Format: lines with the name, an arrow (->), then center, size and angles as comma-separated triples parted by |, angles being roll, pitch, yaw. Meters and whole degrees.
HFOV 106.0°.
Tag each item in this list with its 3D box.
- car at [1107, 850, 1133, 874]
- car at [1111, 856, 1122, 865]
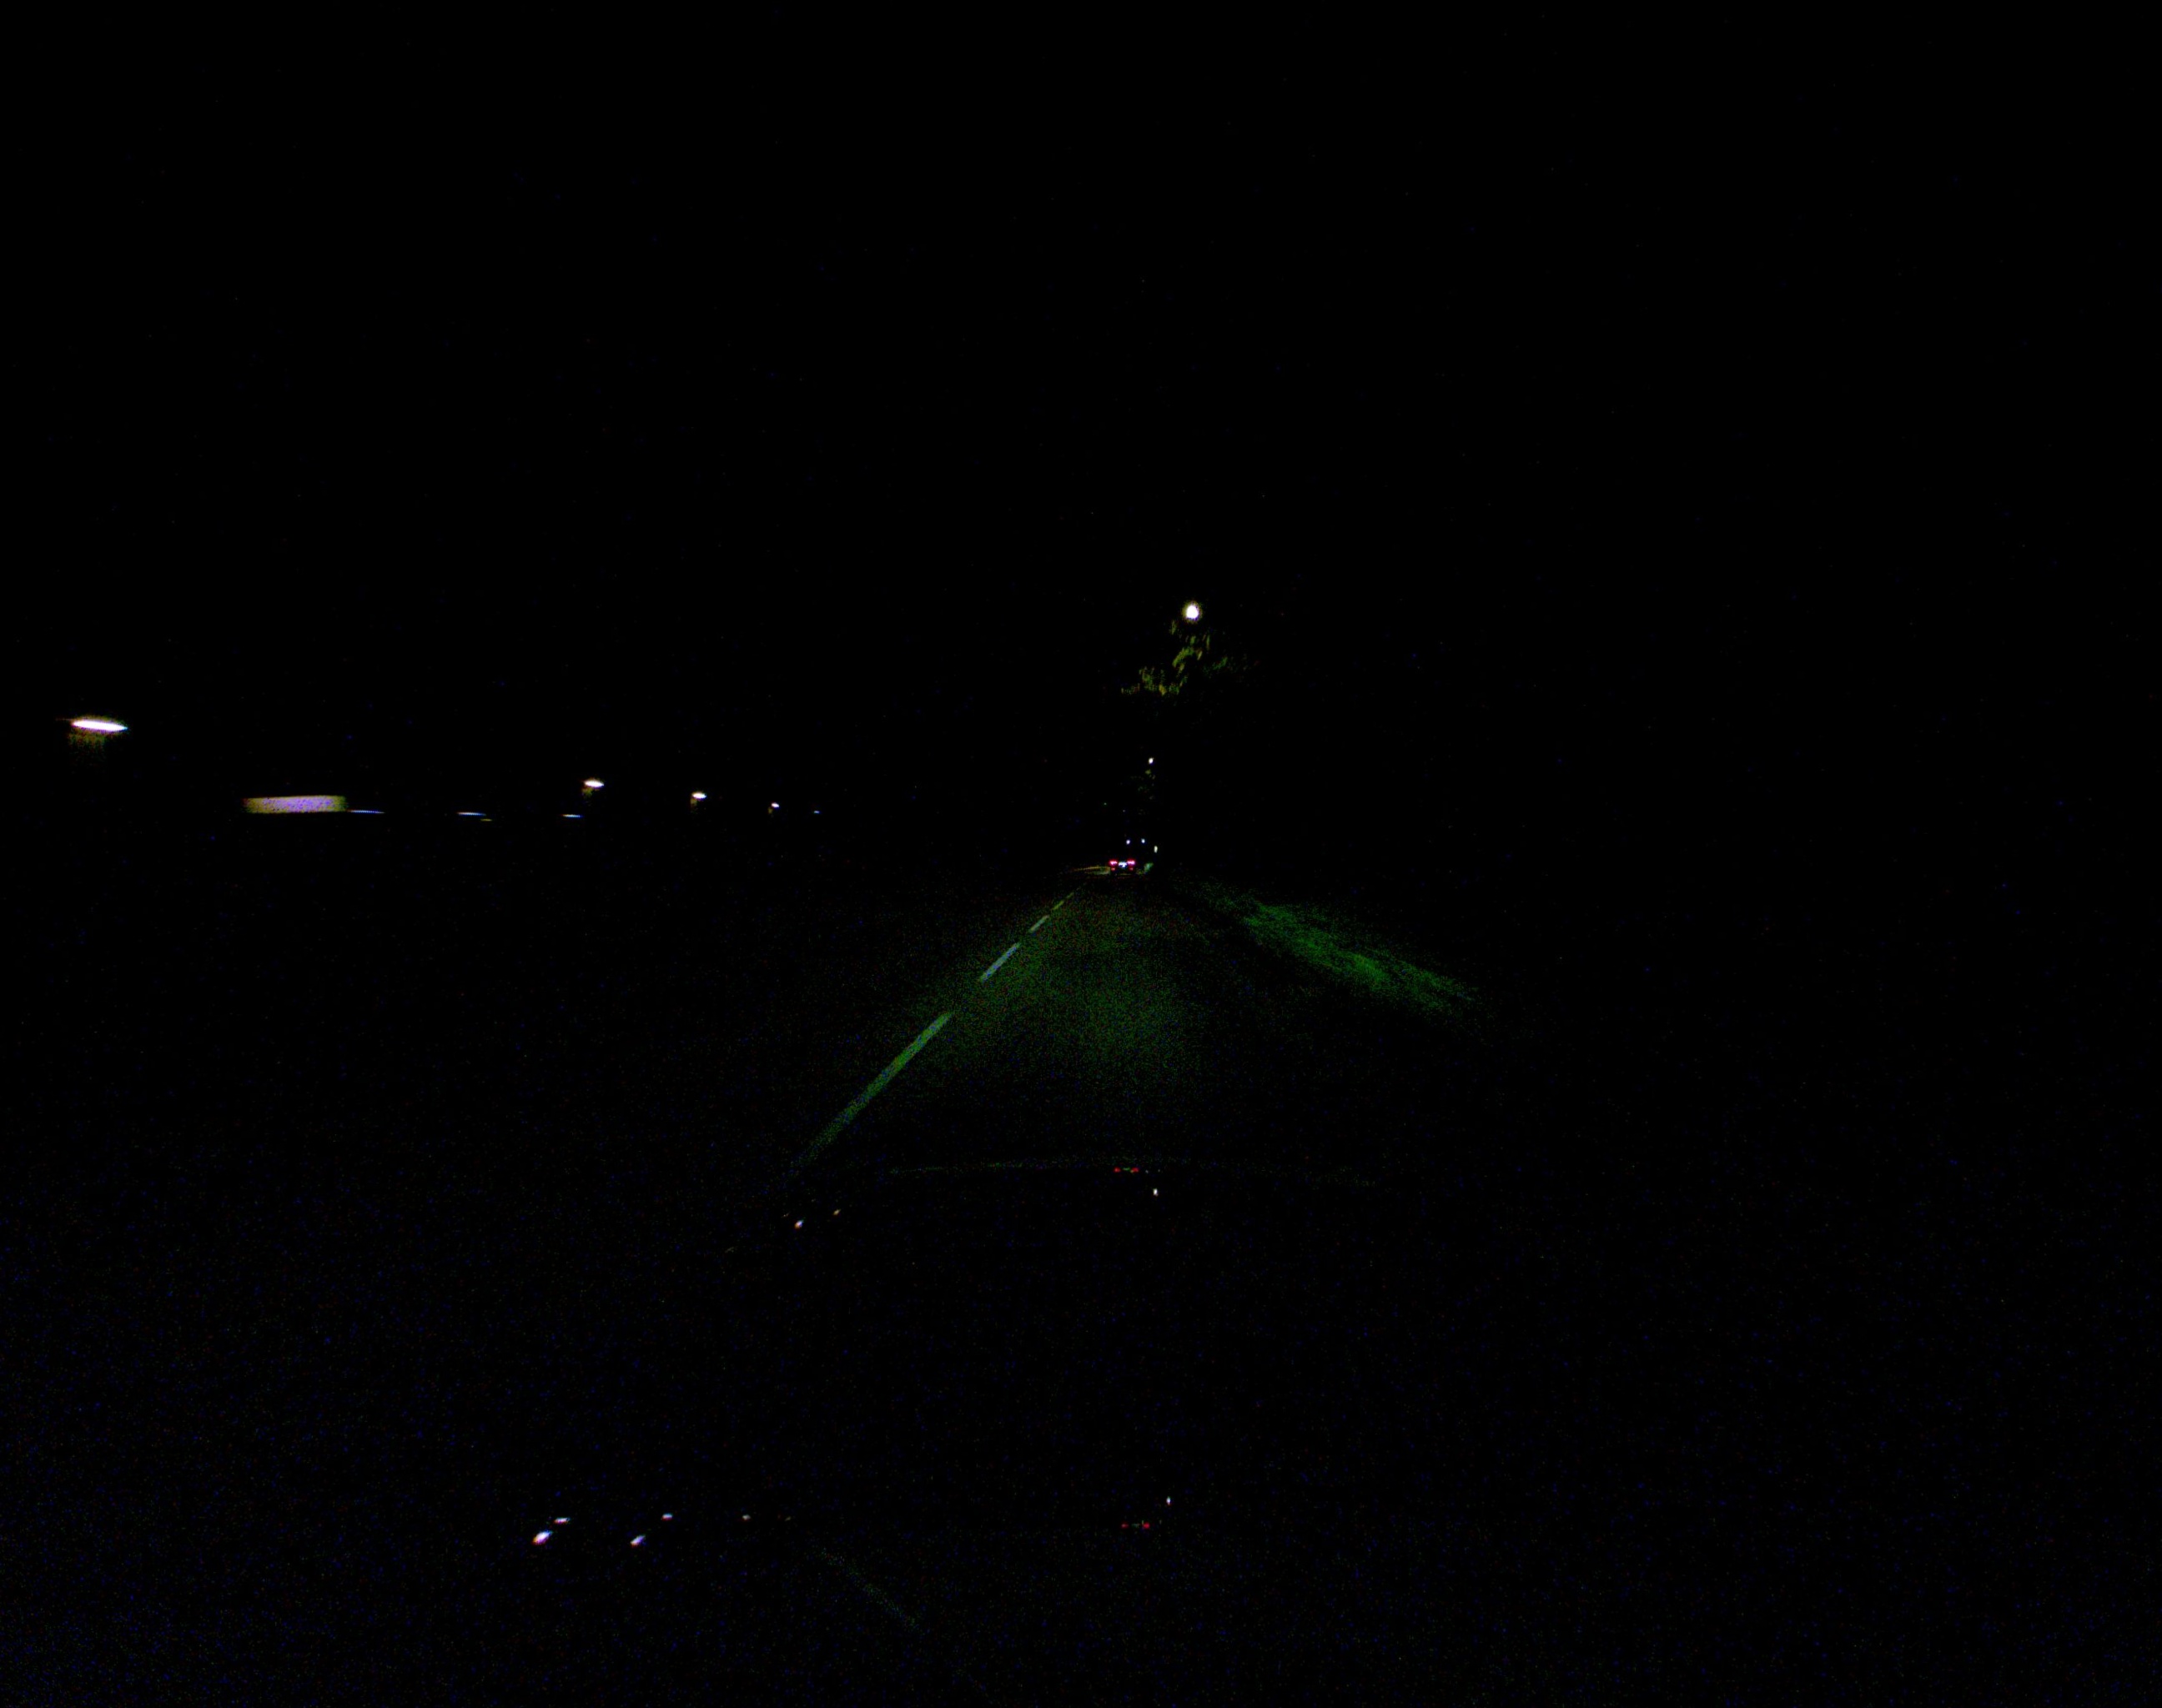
car -> 2.809, 0.583, 58.679 | 1.757, 1.642, 3.723 | -1, 0, 1
car -> 5.735, 0.994, 129.781 | 1.680, 1.457, 4.003 | -1, -1, 3
